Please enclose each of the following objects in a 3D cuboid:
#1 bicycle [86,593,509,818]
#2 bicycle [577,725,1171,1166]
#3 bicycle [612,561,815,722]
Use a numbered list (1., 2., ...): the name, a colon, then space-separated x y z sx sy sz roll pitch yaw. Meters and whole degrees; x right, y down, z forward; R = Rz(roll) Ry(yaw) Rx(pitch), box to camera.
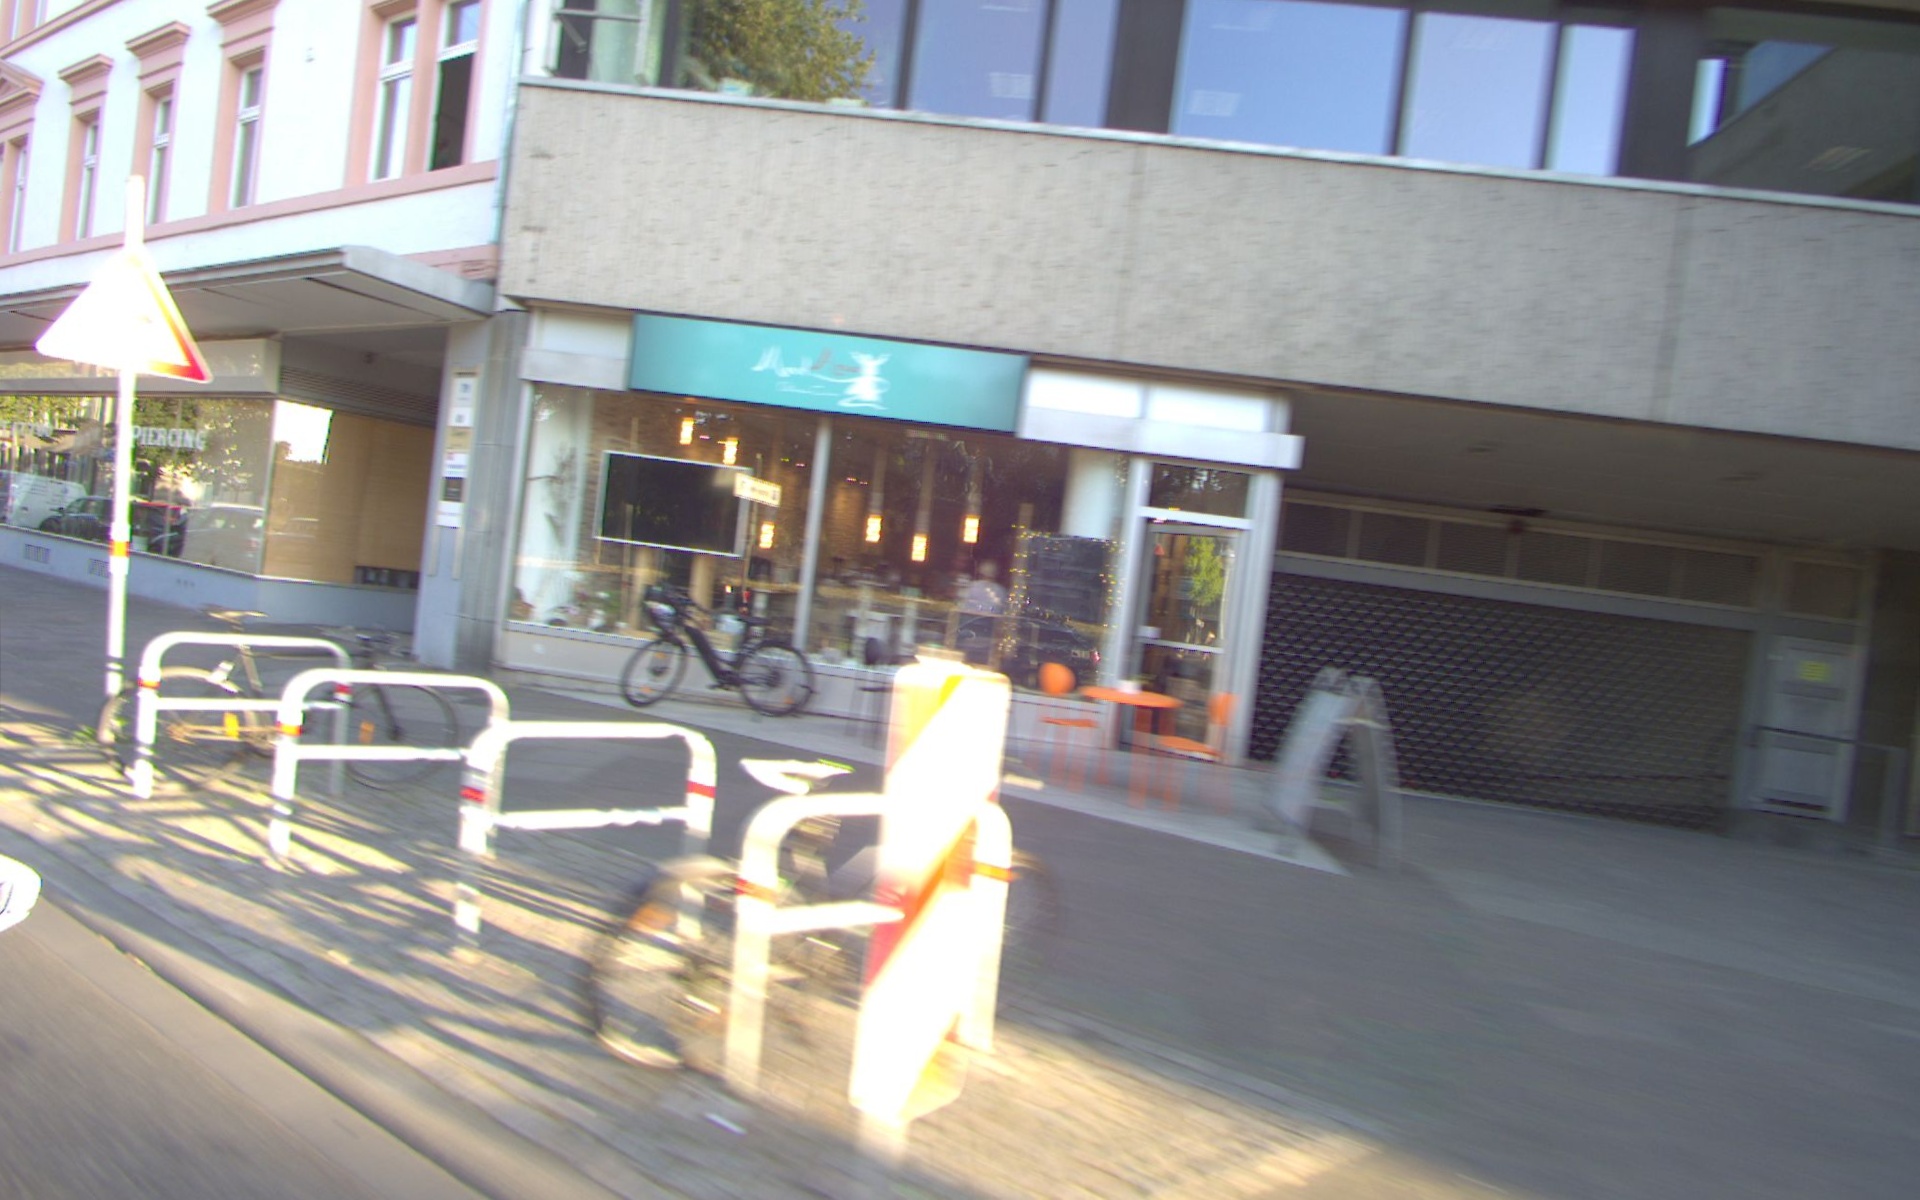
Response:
1. bicycle: -3.479 0.552 5.420 1.777 1.003 0.536 5 4 -37
2. bicycle: -0.199 0.950 3.214 1.776 1.003 0.536 5 4 -36
3. bicycle: -2.167 0.373 8.928 1.636 1.293 0.414 4 2 -12
